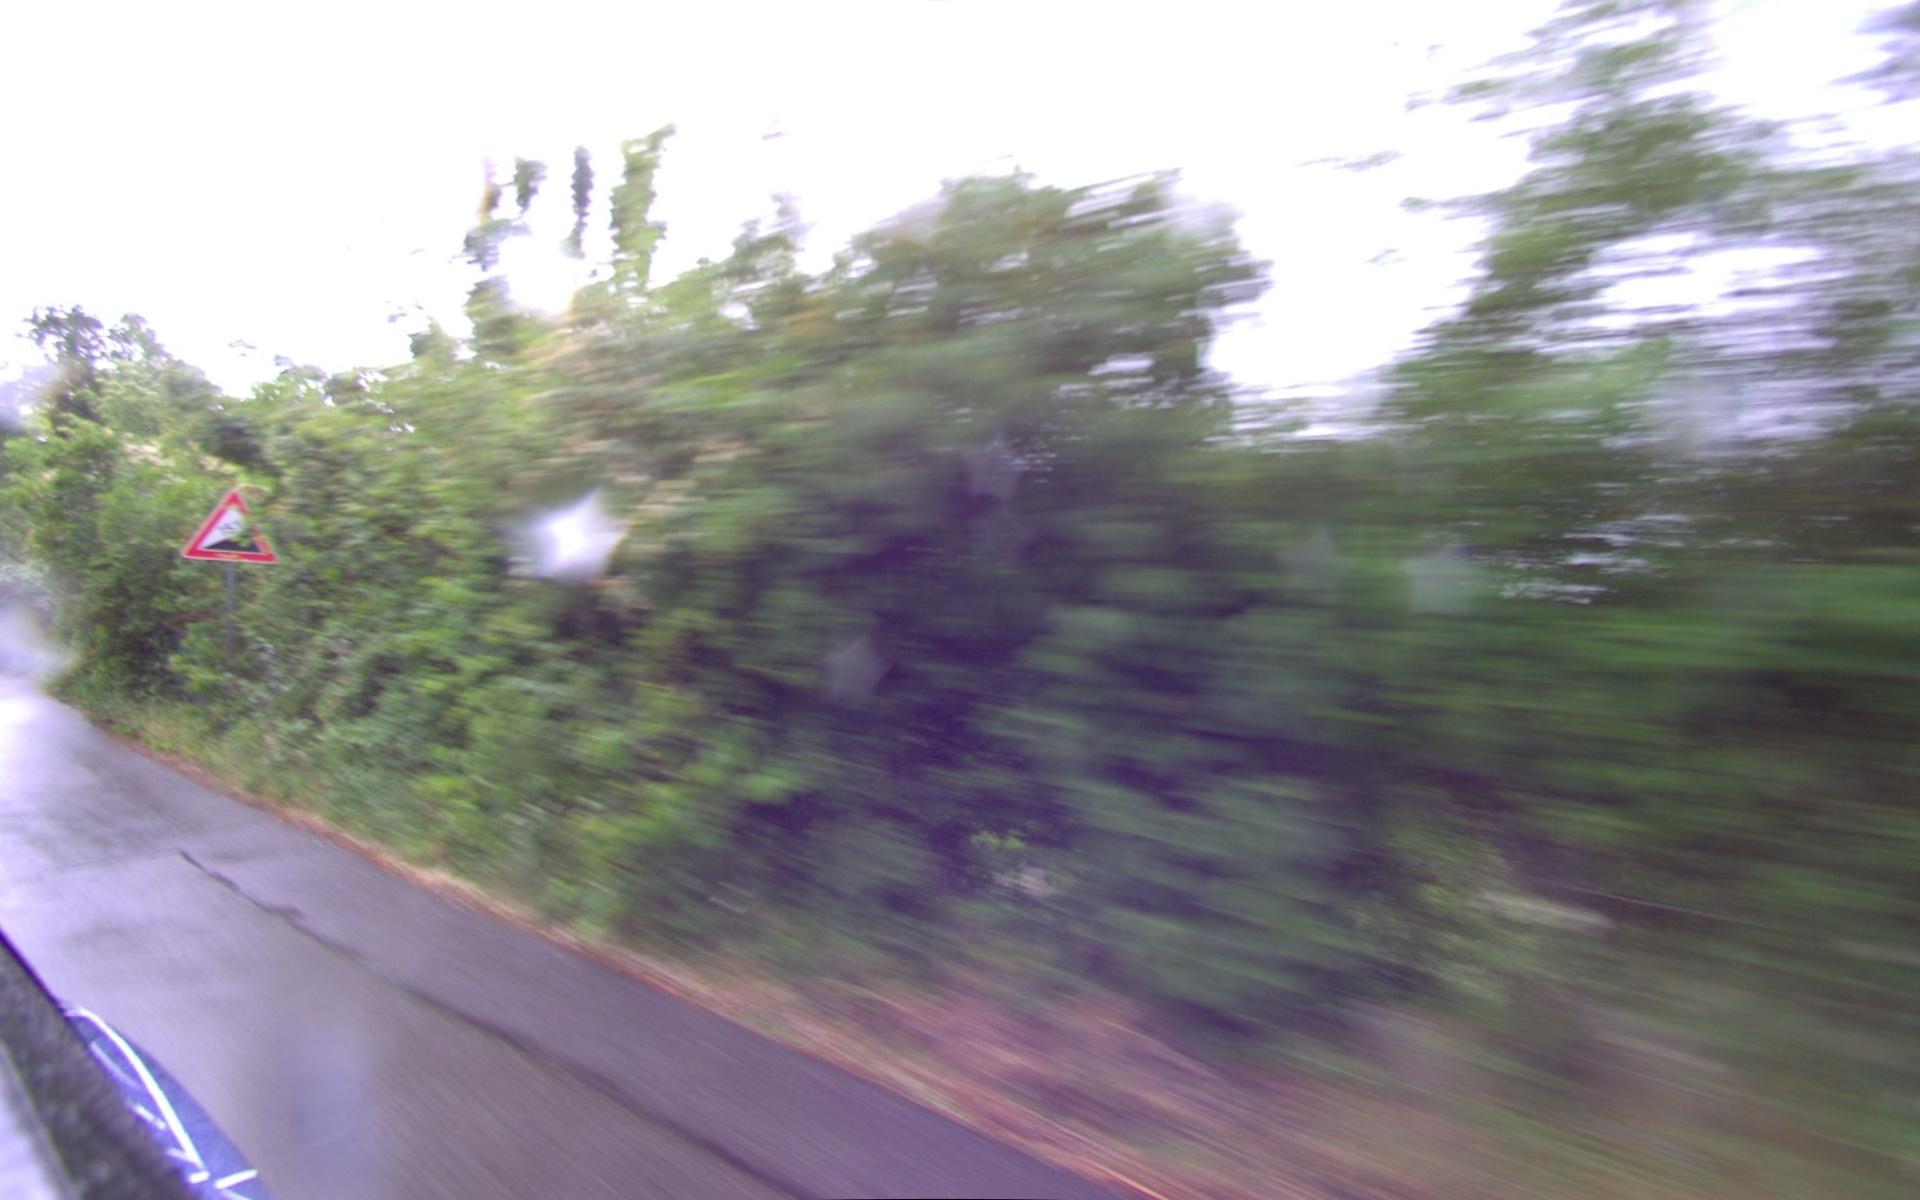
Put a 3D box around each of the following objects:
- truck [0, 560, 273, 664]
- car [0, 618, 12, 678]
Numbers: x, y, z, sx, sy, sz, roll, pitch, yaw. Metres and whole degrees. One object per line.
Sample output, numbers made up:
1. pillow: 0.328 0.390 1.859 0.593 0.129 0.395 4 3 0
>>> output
1. truck: -32.809 0.461 40.098 9.116 3.743 2.769 -1 0 -2
2. car: -29.948 1.412 30.429 4.066 1.740 1.668 -1 -4 42
